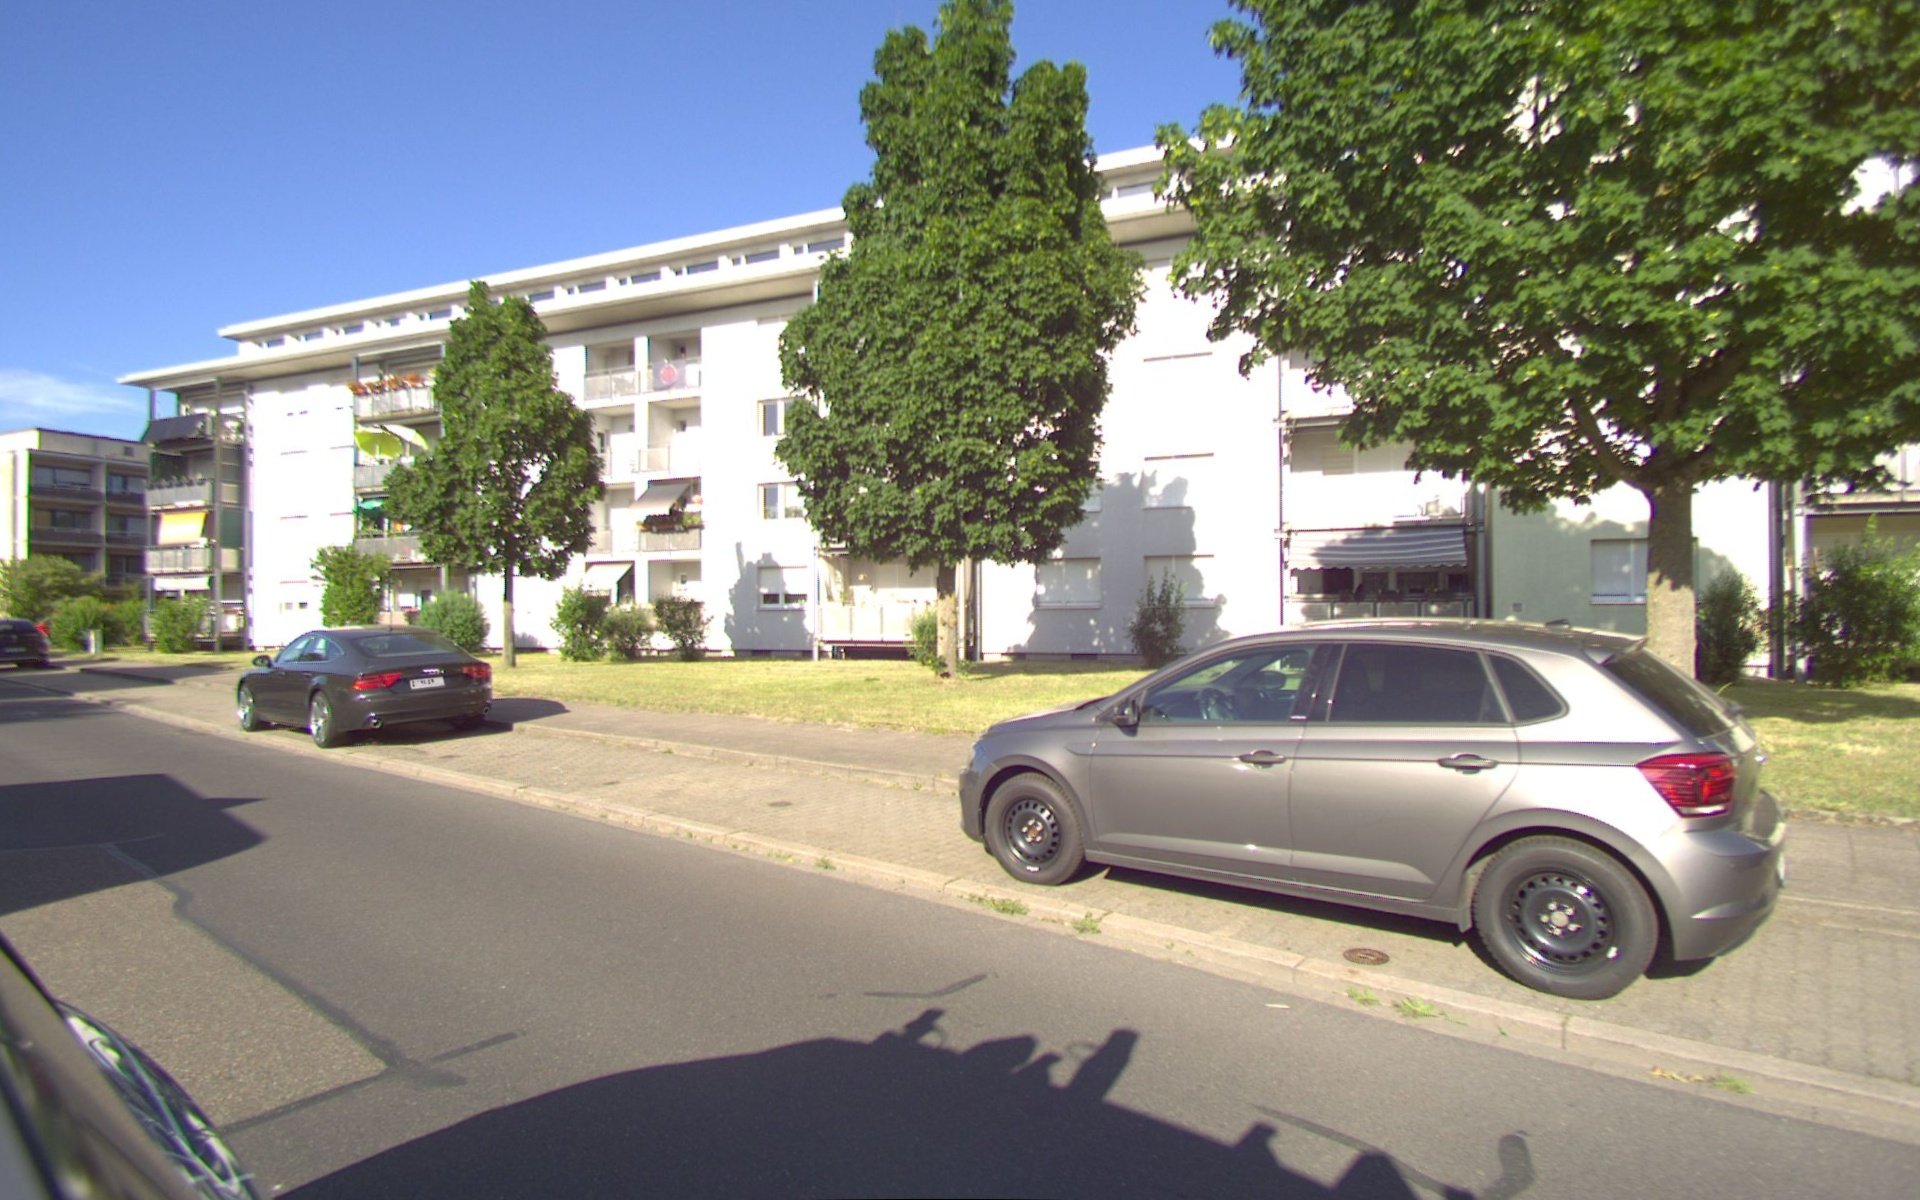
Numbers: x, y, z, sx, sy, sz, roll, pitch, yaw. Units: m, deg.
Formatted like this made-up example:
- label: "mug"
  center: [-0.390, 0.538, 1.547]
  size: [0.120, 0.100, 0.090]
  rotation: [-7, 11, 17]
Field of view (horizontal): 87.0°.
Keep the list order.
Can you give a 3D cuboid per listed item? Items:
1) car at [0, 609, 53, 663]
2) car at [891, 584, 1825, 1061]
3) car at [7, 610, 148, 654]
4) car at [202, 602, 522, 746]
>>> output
- label: "car"
  center: [-30.354, 1.107, 31.739]
  size: [4.802, 1.616, 1.897]
  rotation: [-1, -2, 36]
- label: "car"
  center: [1.777, 0.733, 5.347]
  size: [4.219, 1.529, 1.814]
  rotation: [-1, 0, 41]
- label: "car"
  center: [-51.656, 1.890, 59.392]
  size: [2.207, 2.447, 5.855]
  rotation: [-3, -3, 34]
- label: "car"
  center: [-8.115, 0.865, 13.493]
  size: [5.252, 1.504, 2.014]
  rotation: [-2, 1, 40]
